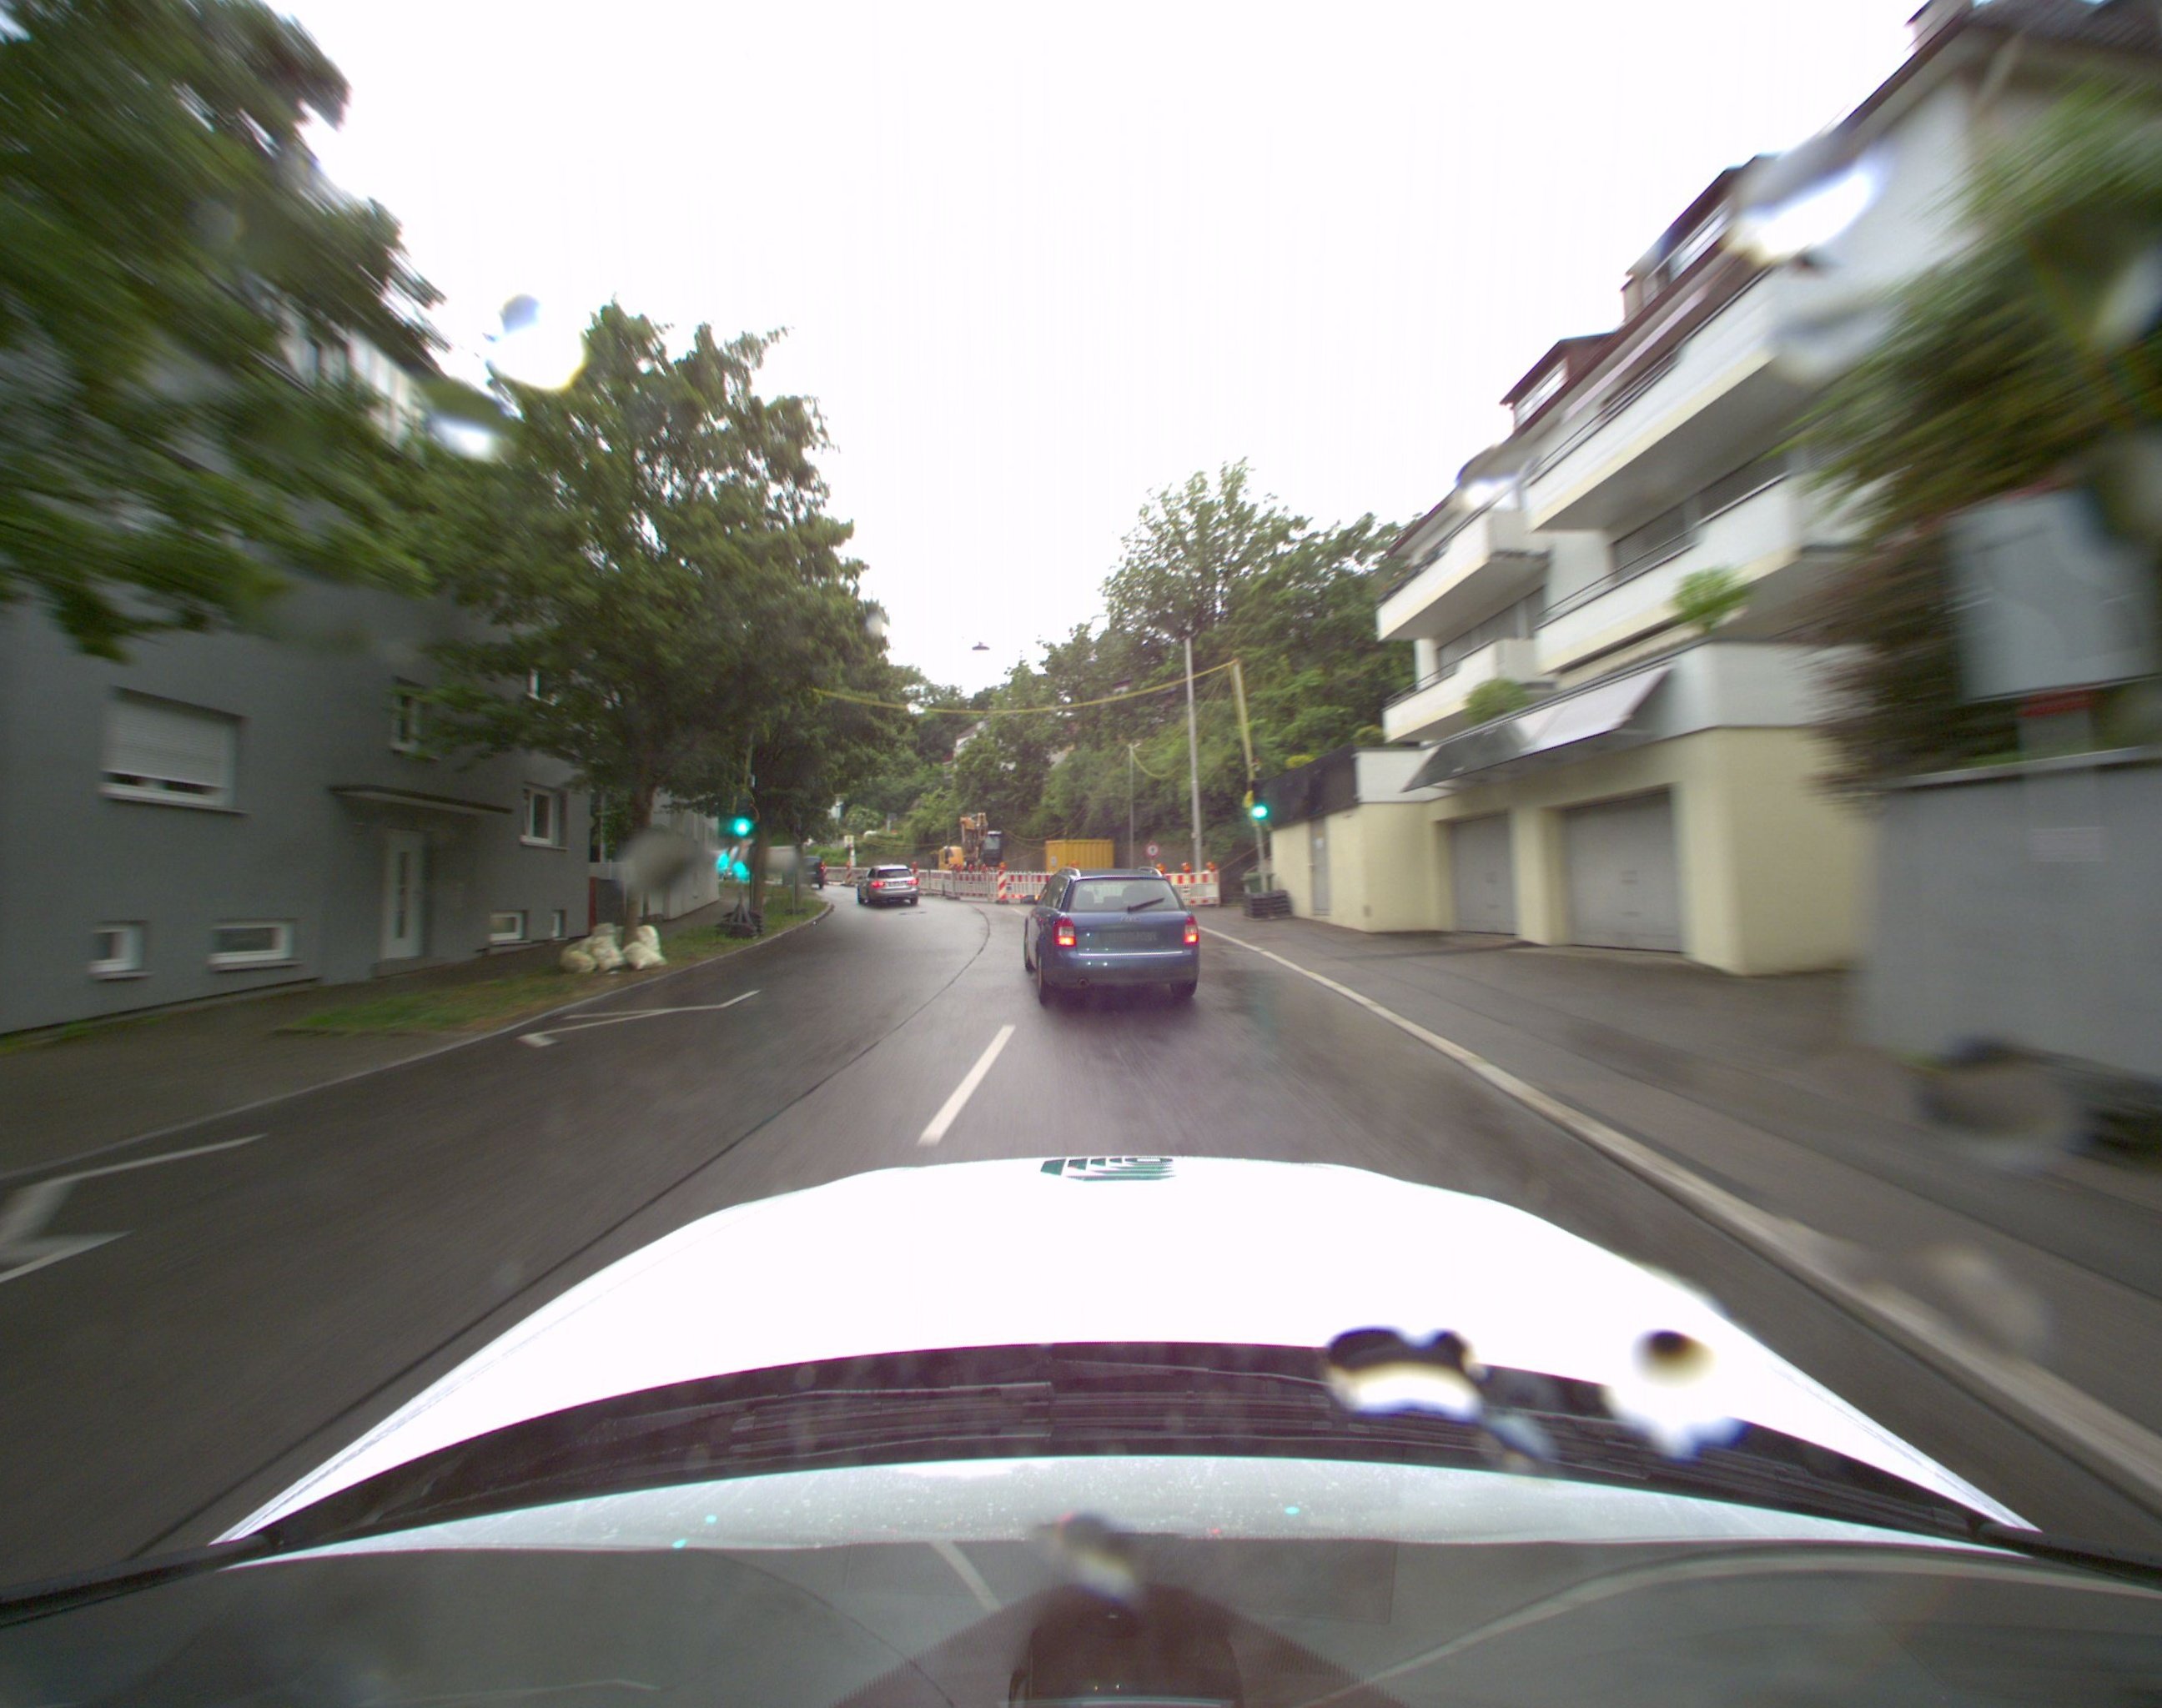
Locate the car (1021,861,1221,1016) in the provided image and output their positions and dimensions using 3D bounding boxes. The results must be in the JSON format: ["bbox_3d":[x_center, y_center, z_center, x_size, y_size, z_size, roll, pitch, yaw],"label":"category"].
[{"bbox_3d":[0.265,0.839,9.985,1.784,1.442,3.954,-2,0,-7],"label":"car"}]

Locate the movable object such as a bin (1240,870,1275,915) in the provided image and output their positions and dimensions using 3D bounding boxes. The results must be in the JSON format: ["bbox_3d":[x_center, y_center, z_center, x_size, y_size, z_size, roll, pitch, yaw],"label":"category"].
[{"bbox_3d":[4.268,0.929,19.724,0.716,1.032,0.592,-2,-1,2],"label":"movable object such as a bin"}]

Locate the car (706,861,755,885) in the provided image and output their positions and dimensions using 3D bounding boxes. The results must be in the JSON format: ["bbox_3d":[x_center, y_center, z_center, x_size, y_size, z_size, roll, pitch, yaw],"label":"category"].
[{"bbox_3d":[-25.320,1.399,58.767,4.024,1.486,1.737,-4,-1,43],"label":"car"}]

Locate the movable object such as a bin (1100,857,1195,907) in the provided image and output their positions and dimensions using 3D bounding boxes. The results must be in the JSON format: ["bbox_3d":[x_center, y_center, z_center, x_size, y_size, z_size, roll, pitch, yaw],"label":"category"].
[{"bbox_3d":[2.158,0.879,27.649,1.997,1.519,3.979,-1,0,-15],"label":"movable object such as a bin"}]

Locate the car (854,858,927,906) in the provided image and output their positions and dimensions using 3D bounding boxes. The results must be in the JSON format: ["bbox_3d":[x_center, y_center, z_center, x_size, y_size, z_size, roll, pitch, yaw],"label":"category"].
[{"bbox_3d":[-7.227,0.991,30.649,1.935,1.618,4.287,-2,0,-23],"label":"car"}]

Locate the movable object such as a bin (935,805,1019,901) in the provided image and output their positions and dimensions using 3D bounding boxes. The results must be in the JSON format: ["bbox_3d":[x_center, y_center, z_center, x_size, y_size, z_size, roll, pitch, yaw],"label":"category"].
[{"bbox_3d":[-5.045,-0.046,38.323,2.825,4.014,7.288,-2,0,-16],"label":"movable object such as a bin"}]

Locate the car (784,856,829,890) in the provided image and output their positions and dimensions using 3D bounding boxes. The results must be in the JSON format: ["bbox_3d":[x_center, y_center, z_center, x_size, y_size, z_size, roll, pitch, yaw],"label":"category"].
[{"bbox_3d":[-16.175,1.119,47.942,2.004,1.794,3.966,-3,0,-25],"label":"car"}]
